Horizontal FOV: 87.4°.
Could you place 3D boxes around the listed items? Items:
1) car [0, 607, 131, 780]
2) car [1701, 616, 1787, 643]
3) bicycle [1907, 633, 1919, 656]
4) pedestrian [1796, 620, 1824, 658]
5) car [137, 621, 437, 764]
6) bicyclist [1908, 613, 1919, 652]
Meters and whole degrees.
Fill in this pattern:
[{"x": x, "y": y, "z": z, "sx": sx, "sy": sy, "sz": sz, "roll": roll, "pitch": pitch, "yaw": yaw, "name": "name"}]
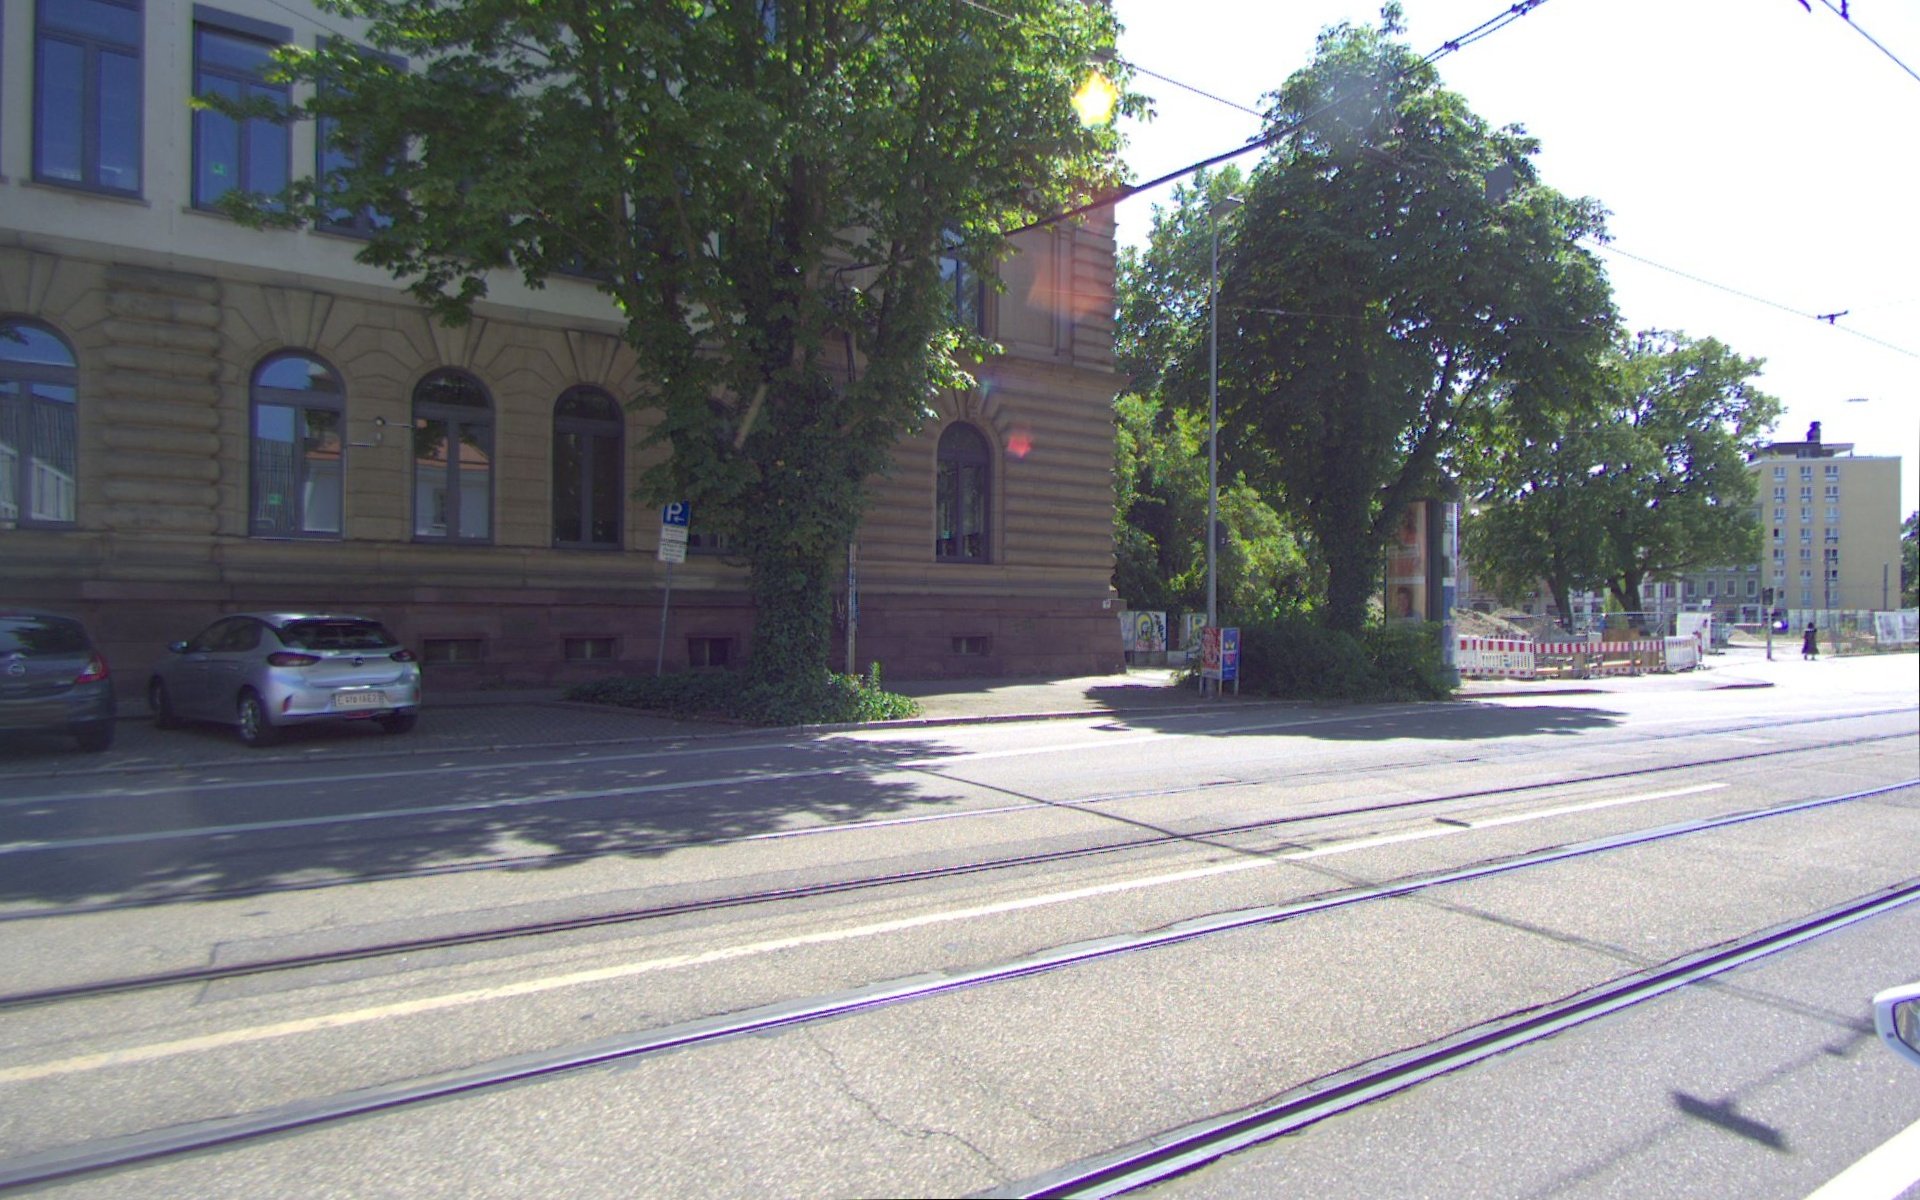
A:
[{"x": -10.276, "y": 0.867, "z": 10.317, "sx": 3.613, "sy": 1.540, "sz": 1.665, "roll": 1, "pitch": 0, "yaw": 32, "name": "car"}, {"x": 51.687, "y": 1.920, "z": 66.281, "sx": 1.822, "sy": 1.671, "sz": 4.180, "roll": 0, "pitch": -1, "yaw": -18, "name": "car"}, {"x": 42.807, "y": 1.983, "z": 44.740, "sx": 2.347, "sy": 0.926, "sz": 0.500, "roll": -1, "pitch": 0, "yaw": -36, "name": "bicycle"}, {"x": 37.227, "y": 1.697, "z": 43.974, "sx": 0.813, "sy": 1.623, "sz": 0.605, "roll": 0, "pitch": -1, "yaw": -20, "name": "pedestrian"}, {"x": -8.039, "y": 0.979, "z": 11.958, "sx": 3.488, "sy": 1.424, "sz": 1.698, "roll": 0, "pitch": 0, "yaw": 32, "name": "car"}, {"x": 42.839, "y": 1.452, "z": 44.671, "sx": 0.763, "sy": 1.732, "sz": 0.815, "roll": 0, "pitch": -1, "yaw": -36, "name": "bicyclist"}]
